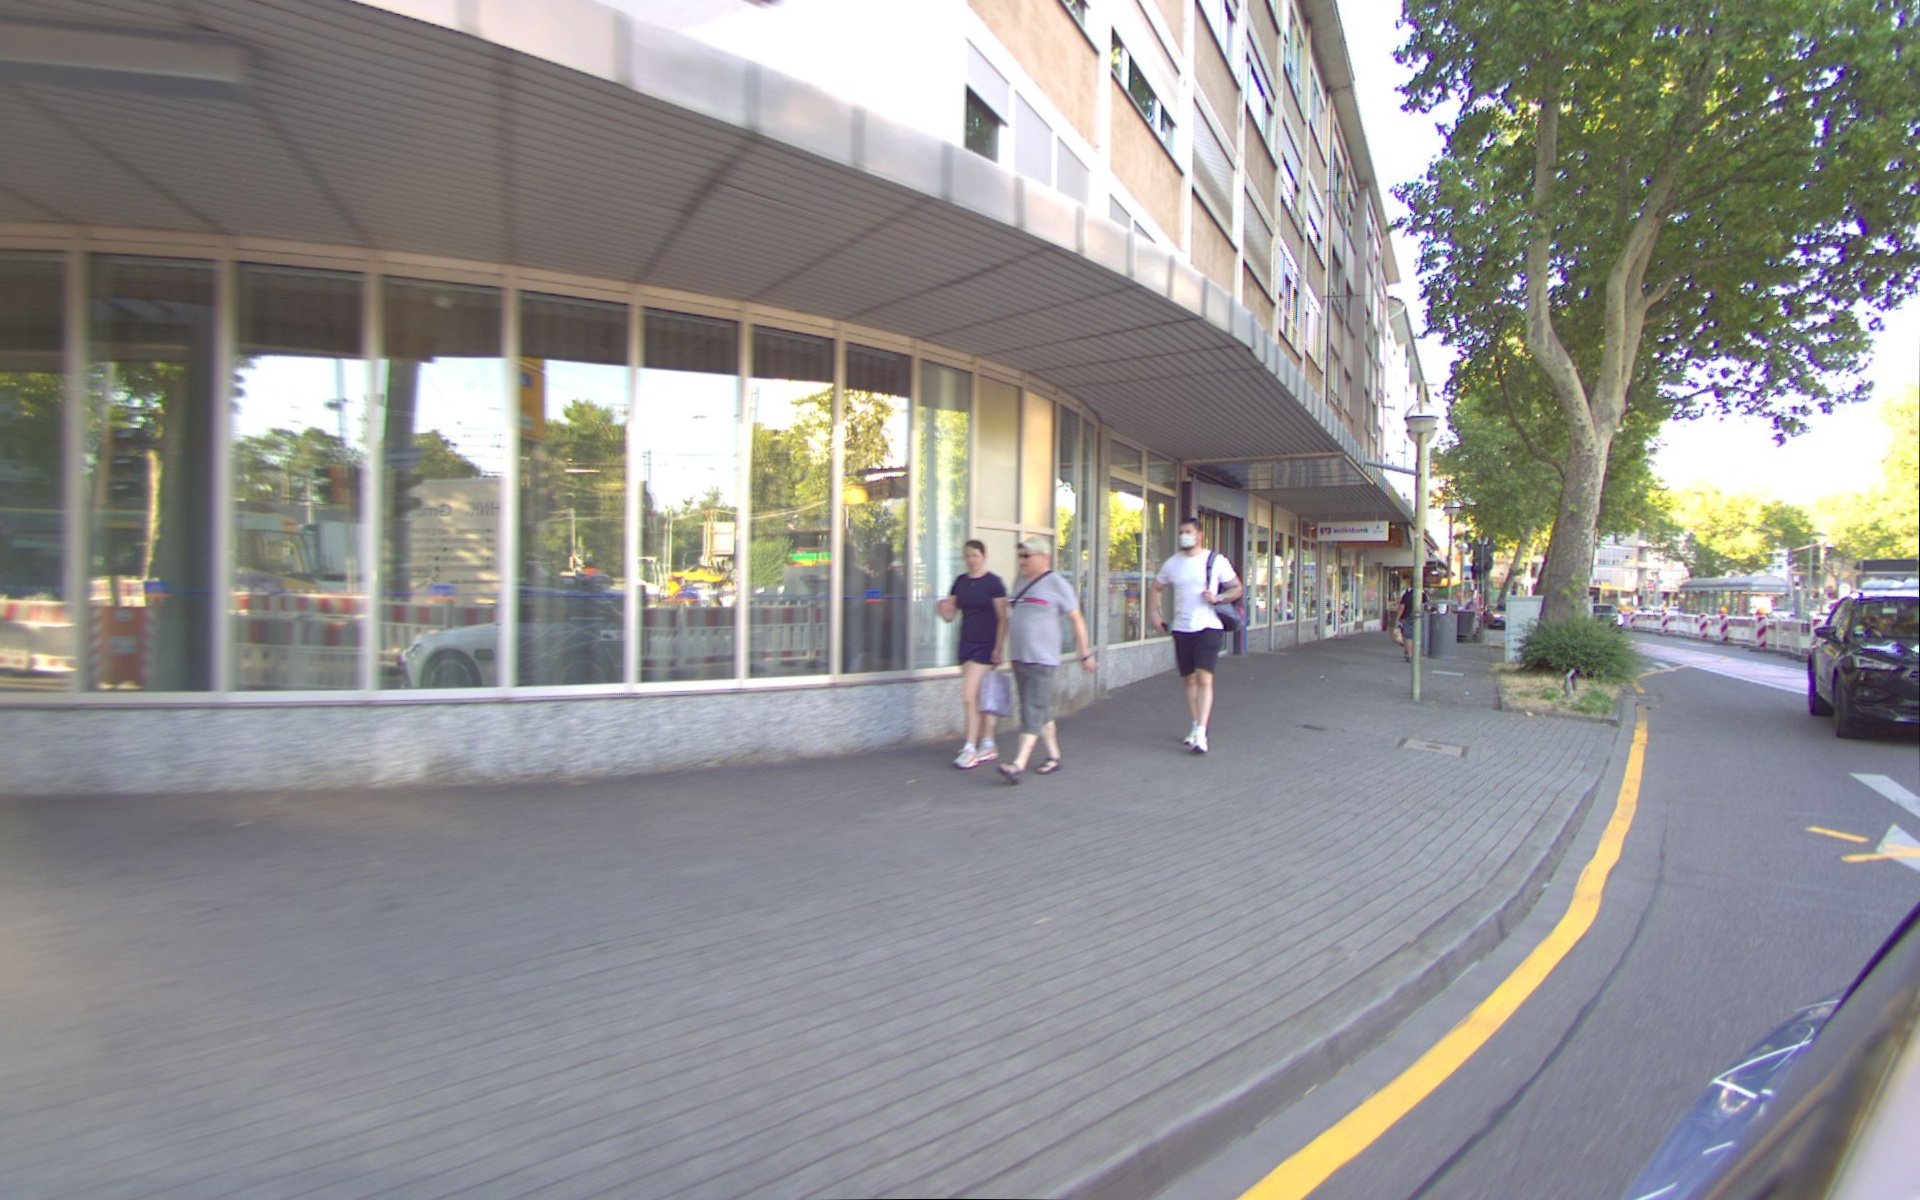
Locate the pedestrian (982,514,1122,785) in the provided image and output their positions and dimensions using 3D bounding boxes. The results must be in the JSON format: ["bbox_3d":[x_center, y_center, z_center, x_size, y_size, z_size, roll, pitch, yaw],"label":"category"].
[{"bbox_3d":[0.637,0.309,6.933,0.582,1.729,0.670,5,2,37],"label":"pedestrian"}]

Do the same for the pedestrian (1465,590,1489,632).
[{"bbox_3d":[20.801,0.441,40.719,0.635,1.694,0.556,0,0,-2],"label":"pedestrian"}]

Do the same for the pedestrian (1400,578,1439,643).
[{"bbox_3d":[12.350,0.274,27.177,0.838,1.694,0.980,3,1,27],"label":"pedestrian"}]

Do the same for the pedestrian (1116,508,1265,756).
[{"bbox_3d":[1.971,0.236,8.562,0.833,1.892,1.089,6,2,27],"label":"pedestrian"}]

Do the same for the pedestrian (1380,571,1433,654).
[{"bbox_3d":[9.854,0.272,22.310,0.894,1.718,1.060,5,2,27],"label":"pedestrian"}]

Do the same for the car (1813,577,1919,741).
[{"bbox_3d":[11.363,0.608,11.689,1.988,1.668,4.149,0,0,36],"label":"car"}]

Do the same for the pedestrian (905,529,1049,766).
[{"bbox_3d":[0.127,0.312,7.343,0.632,1.592,0.764,5,2,38],"label":"pedestrian"}]

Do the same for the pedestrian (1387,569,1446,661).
[{"bbox_3d":[9.192,0.295,20.365,0.894,1.731,1.060,5,2,27],"label":"pedestrian"}]

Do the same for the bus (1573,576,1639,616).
[{"bbox_3d":[56.693,-0.263,88.630,2.730,3.248,12.115,-2,-2,43],"label":"bus"}]

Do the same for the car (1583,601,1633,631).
[{"bbox_3d":[35.754,0.894,55.935,1.982,1.605,4.572,0,-1,28],"label":"car"}]

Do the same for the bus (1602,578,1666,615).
[{"bbox_3d":[64.498,-0.259,96.685,2.732,3.248,12.160,-2,-2,45],"label":"bus"}]
